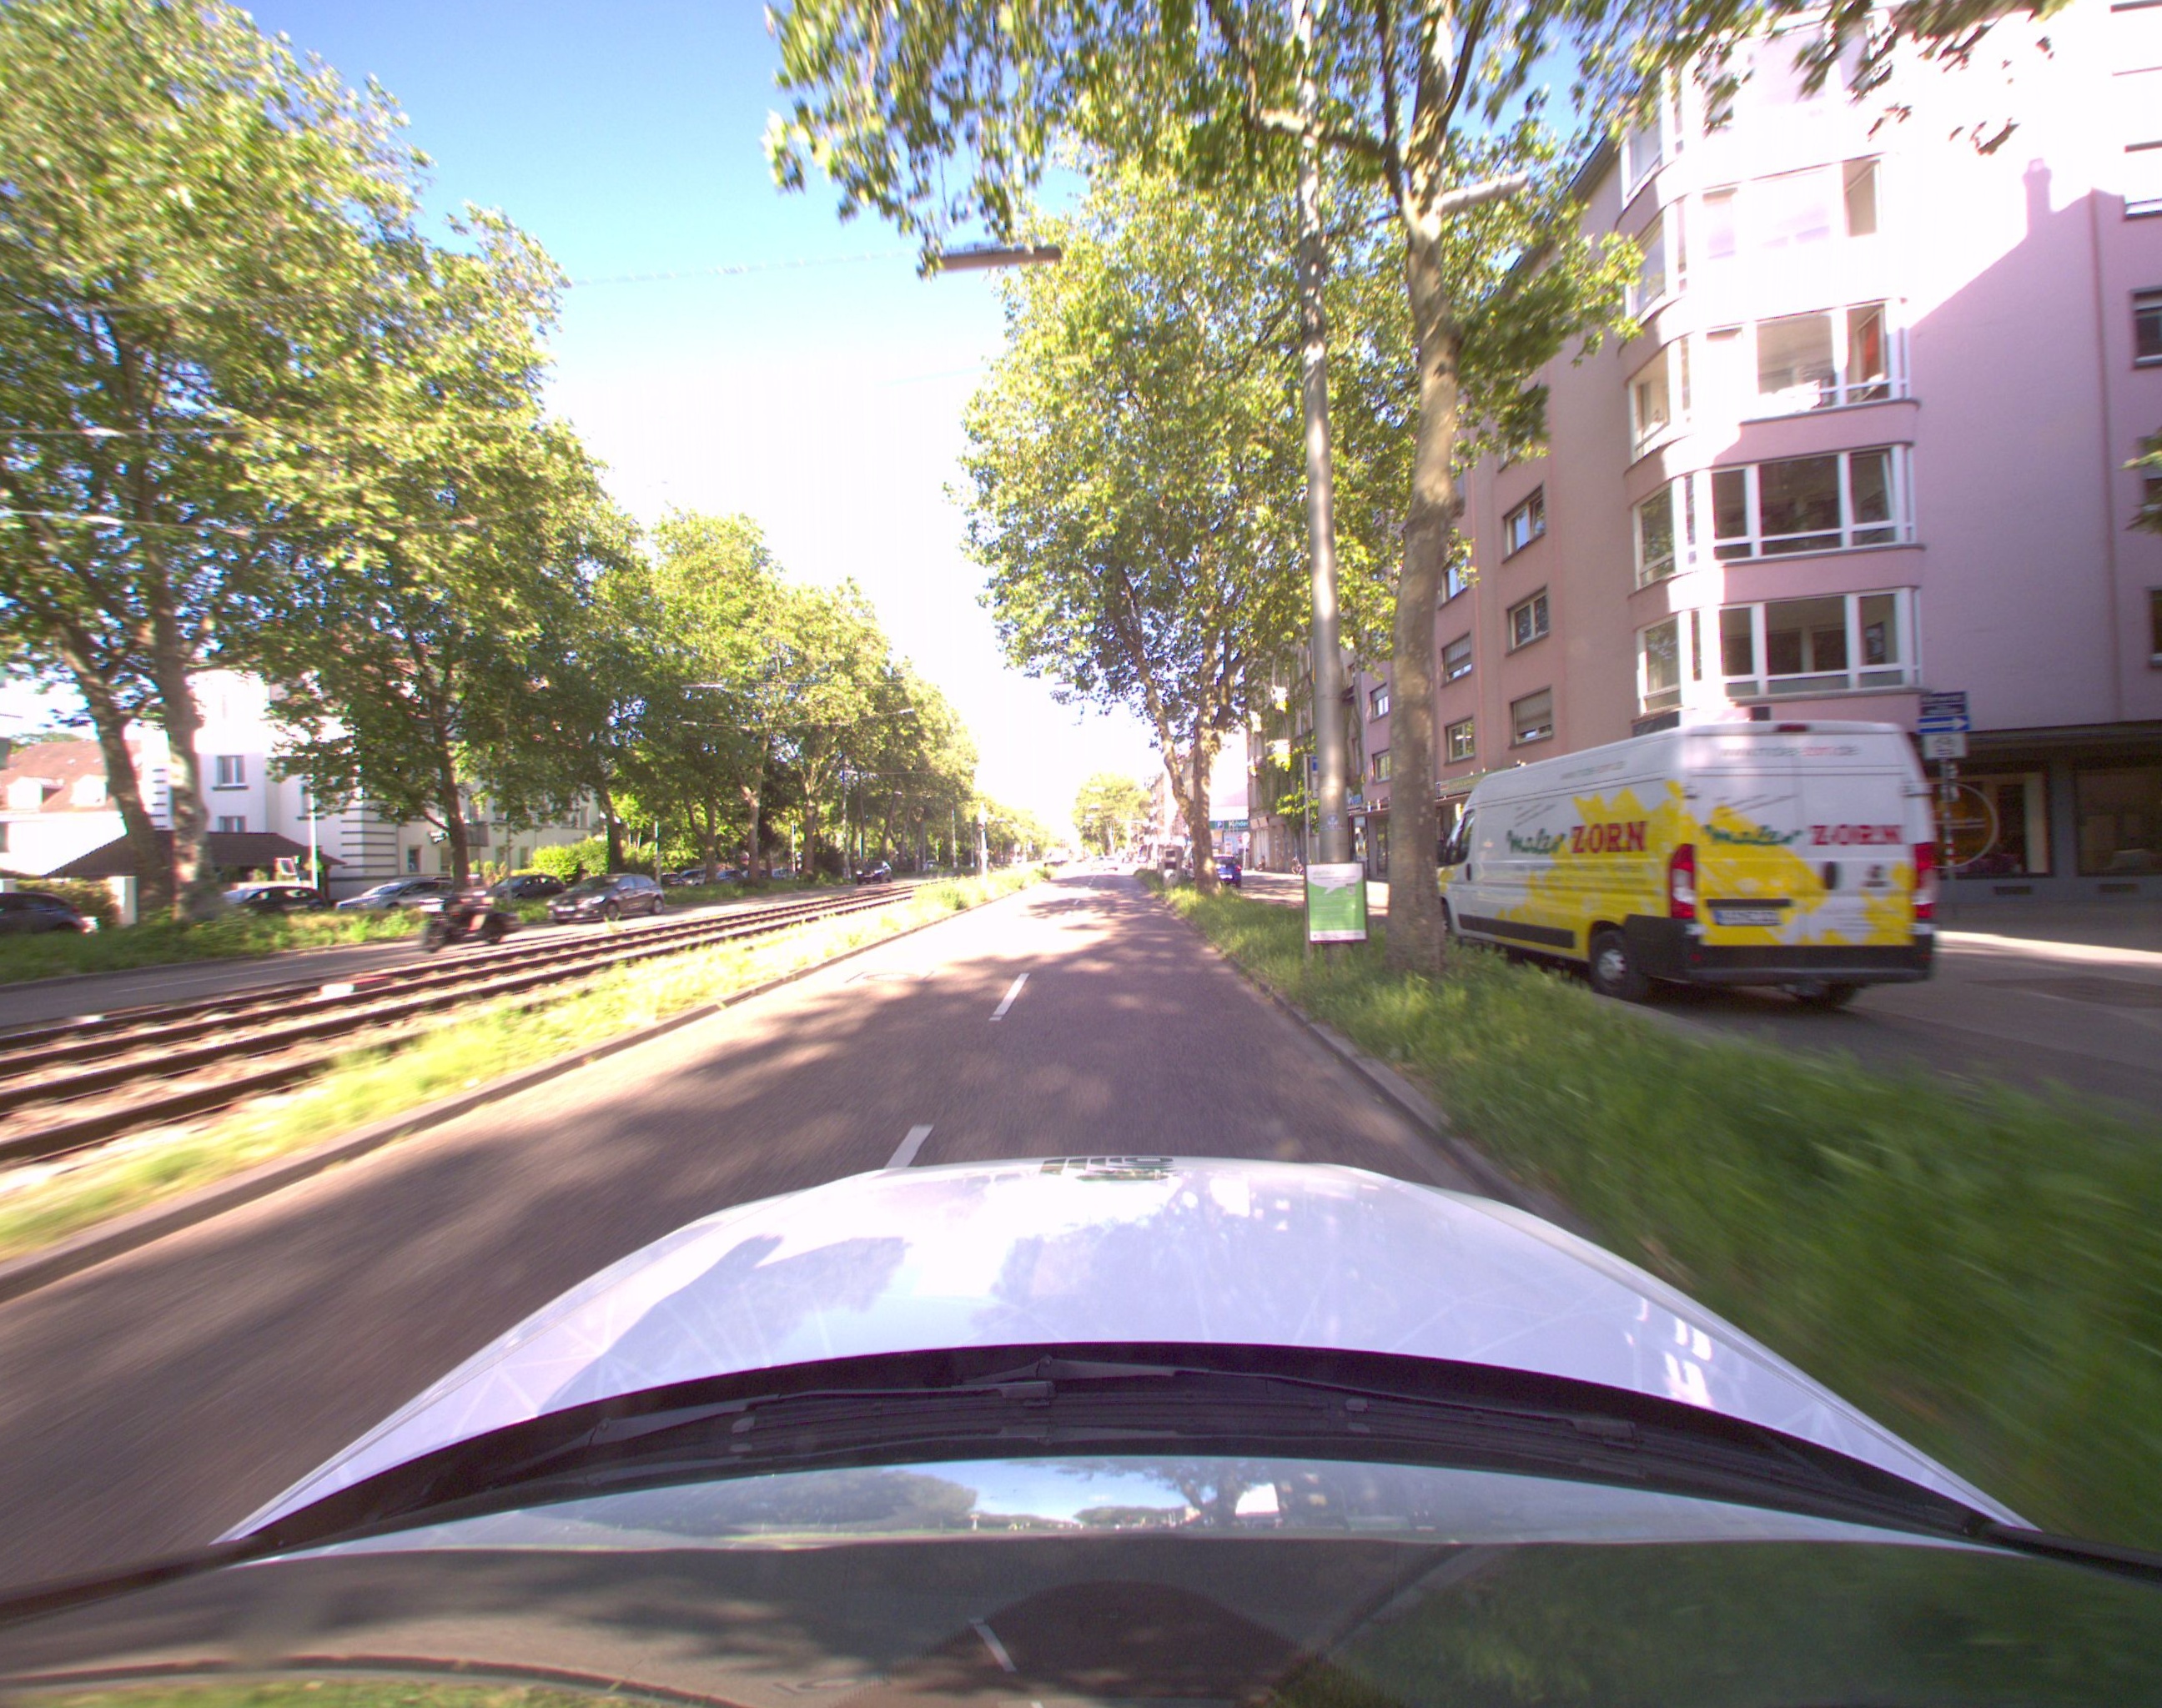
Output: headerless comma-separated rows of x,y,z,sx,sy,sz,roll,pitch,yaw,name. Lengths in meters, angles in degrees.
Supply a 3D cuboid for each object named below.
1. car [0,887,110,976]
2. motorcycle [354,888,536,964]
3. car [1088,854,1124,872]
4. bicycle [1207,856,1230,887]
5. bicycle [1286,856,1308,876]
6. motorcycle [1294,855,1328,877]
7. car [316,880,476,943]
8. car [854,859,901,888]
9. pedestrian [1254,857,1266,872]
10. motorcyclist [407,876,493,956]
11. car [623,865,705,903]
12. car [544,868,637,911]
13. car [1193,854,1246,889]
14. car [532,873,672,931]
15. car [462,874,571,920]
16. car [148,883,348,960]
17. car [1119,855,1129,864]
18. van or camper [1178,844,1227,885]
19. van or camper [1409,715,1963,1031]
-26.623,1.932,19.390,1.986,2.013,4.094,-2,0,1,car
-12.759,1.388,16.583,0.960,1.212,3.352,-2,0,1,motorcycle
2.487,0.902,81.627,2.030,1.662,3.969,-2,0,-23,car
4.649,0.591,27.650,0.586,0.990,1.451,-2,0,3,bicycle
13.206,0.743,49.912,0.882,1.134,2.402,-2,0,5,bicycle
13.472,0.680,47.794,0.562,1.268,1.872,1,0,-43,motorcycle
-26.394,2.144,31.626,1.985,2.013,4.688,-2,0,3,car
-15.199,1.415,61.130,1.986,1.870,4.875,-4,0,2,car
13.658,0.810,62.142,0.704,1.151,0.740,-2,0,2,pedestrian
-12.810,1.229,16.567,0.940,1.513,0.959,-2,0,1,motorcyclist
-25.828,1.810,50.692,2.145,2.013,5.270,-2,0,1,car
-26.247,1.862,43.781,1.986,2.013,4.685,-2,0,1,car
6.295,0.766,37.357,1.678,1.514,3.665,-1,0,-1,car
-15.490,1.487,26.658,1.788,1.508,4.340,-5,0,2,car
-26.382,1.959,38.278,1.814,1.836,4.555,-2,0,1,car
-26.403,2.058,26.051,1.985,2.013,4.105,-2,0,3,car
7.760,1.041,146.271,1.676,1.509,3.670,-1,0,3,car
6.250,0.520,42.487,1.833,1.963,5.127,-1,0,1,van or camper
6.036,0.150,9.580,2.174,2.480,6.274,0,0,3,van or camper
